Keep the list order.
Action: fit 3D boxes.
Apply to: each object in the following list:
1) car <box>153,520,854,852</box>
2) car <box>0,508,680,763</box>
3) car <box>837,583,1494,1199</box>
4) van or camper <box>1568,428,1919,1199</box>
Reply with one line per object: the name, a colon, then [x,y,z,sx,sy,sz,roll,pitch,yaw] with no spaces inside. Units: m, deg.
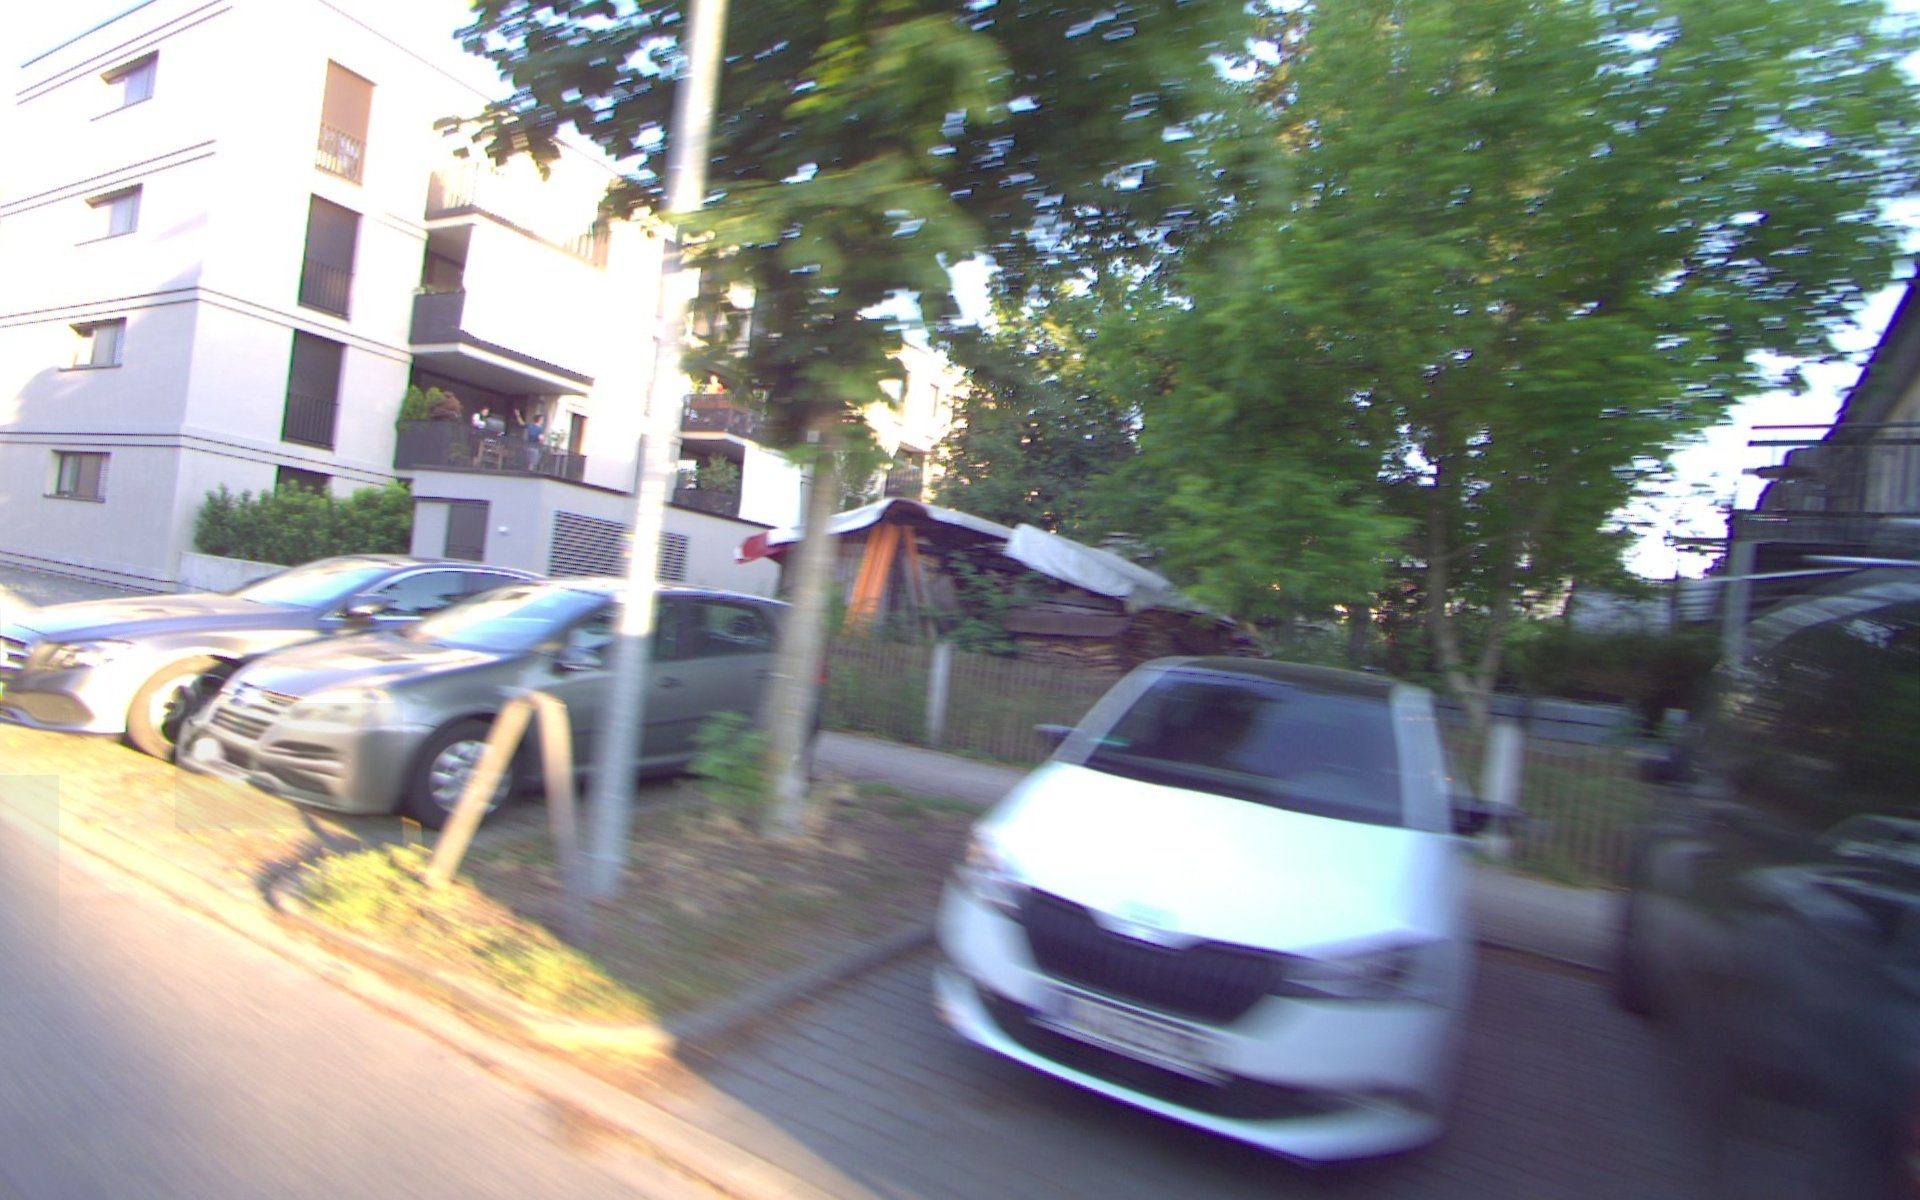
car: [-2.772,0.521,7.023,1.741,1.520,4.058,7,0,34]
car: [-4.781,0.303,8.096,1.741,1.415,4.821,7,0,34]
car: [1.323,0.960,4.448,1.601,1.562,3.840,6,-2,30]
van or camper: [3.203,0.979,2.843,2.058,1.976,4.659,6,-2,28]
